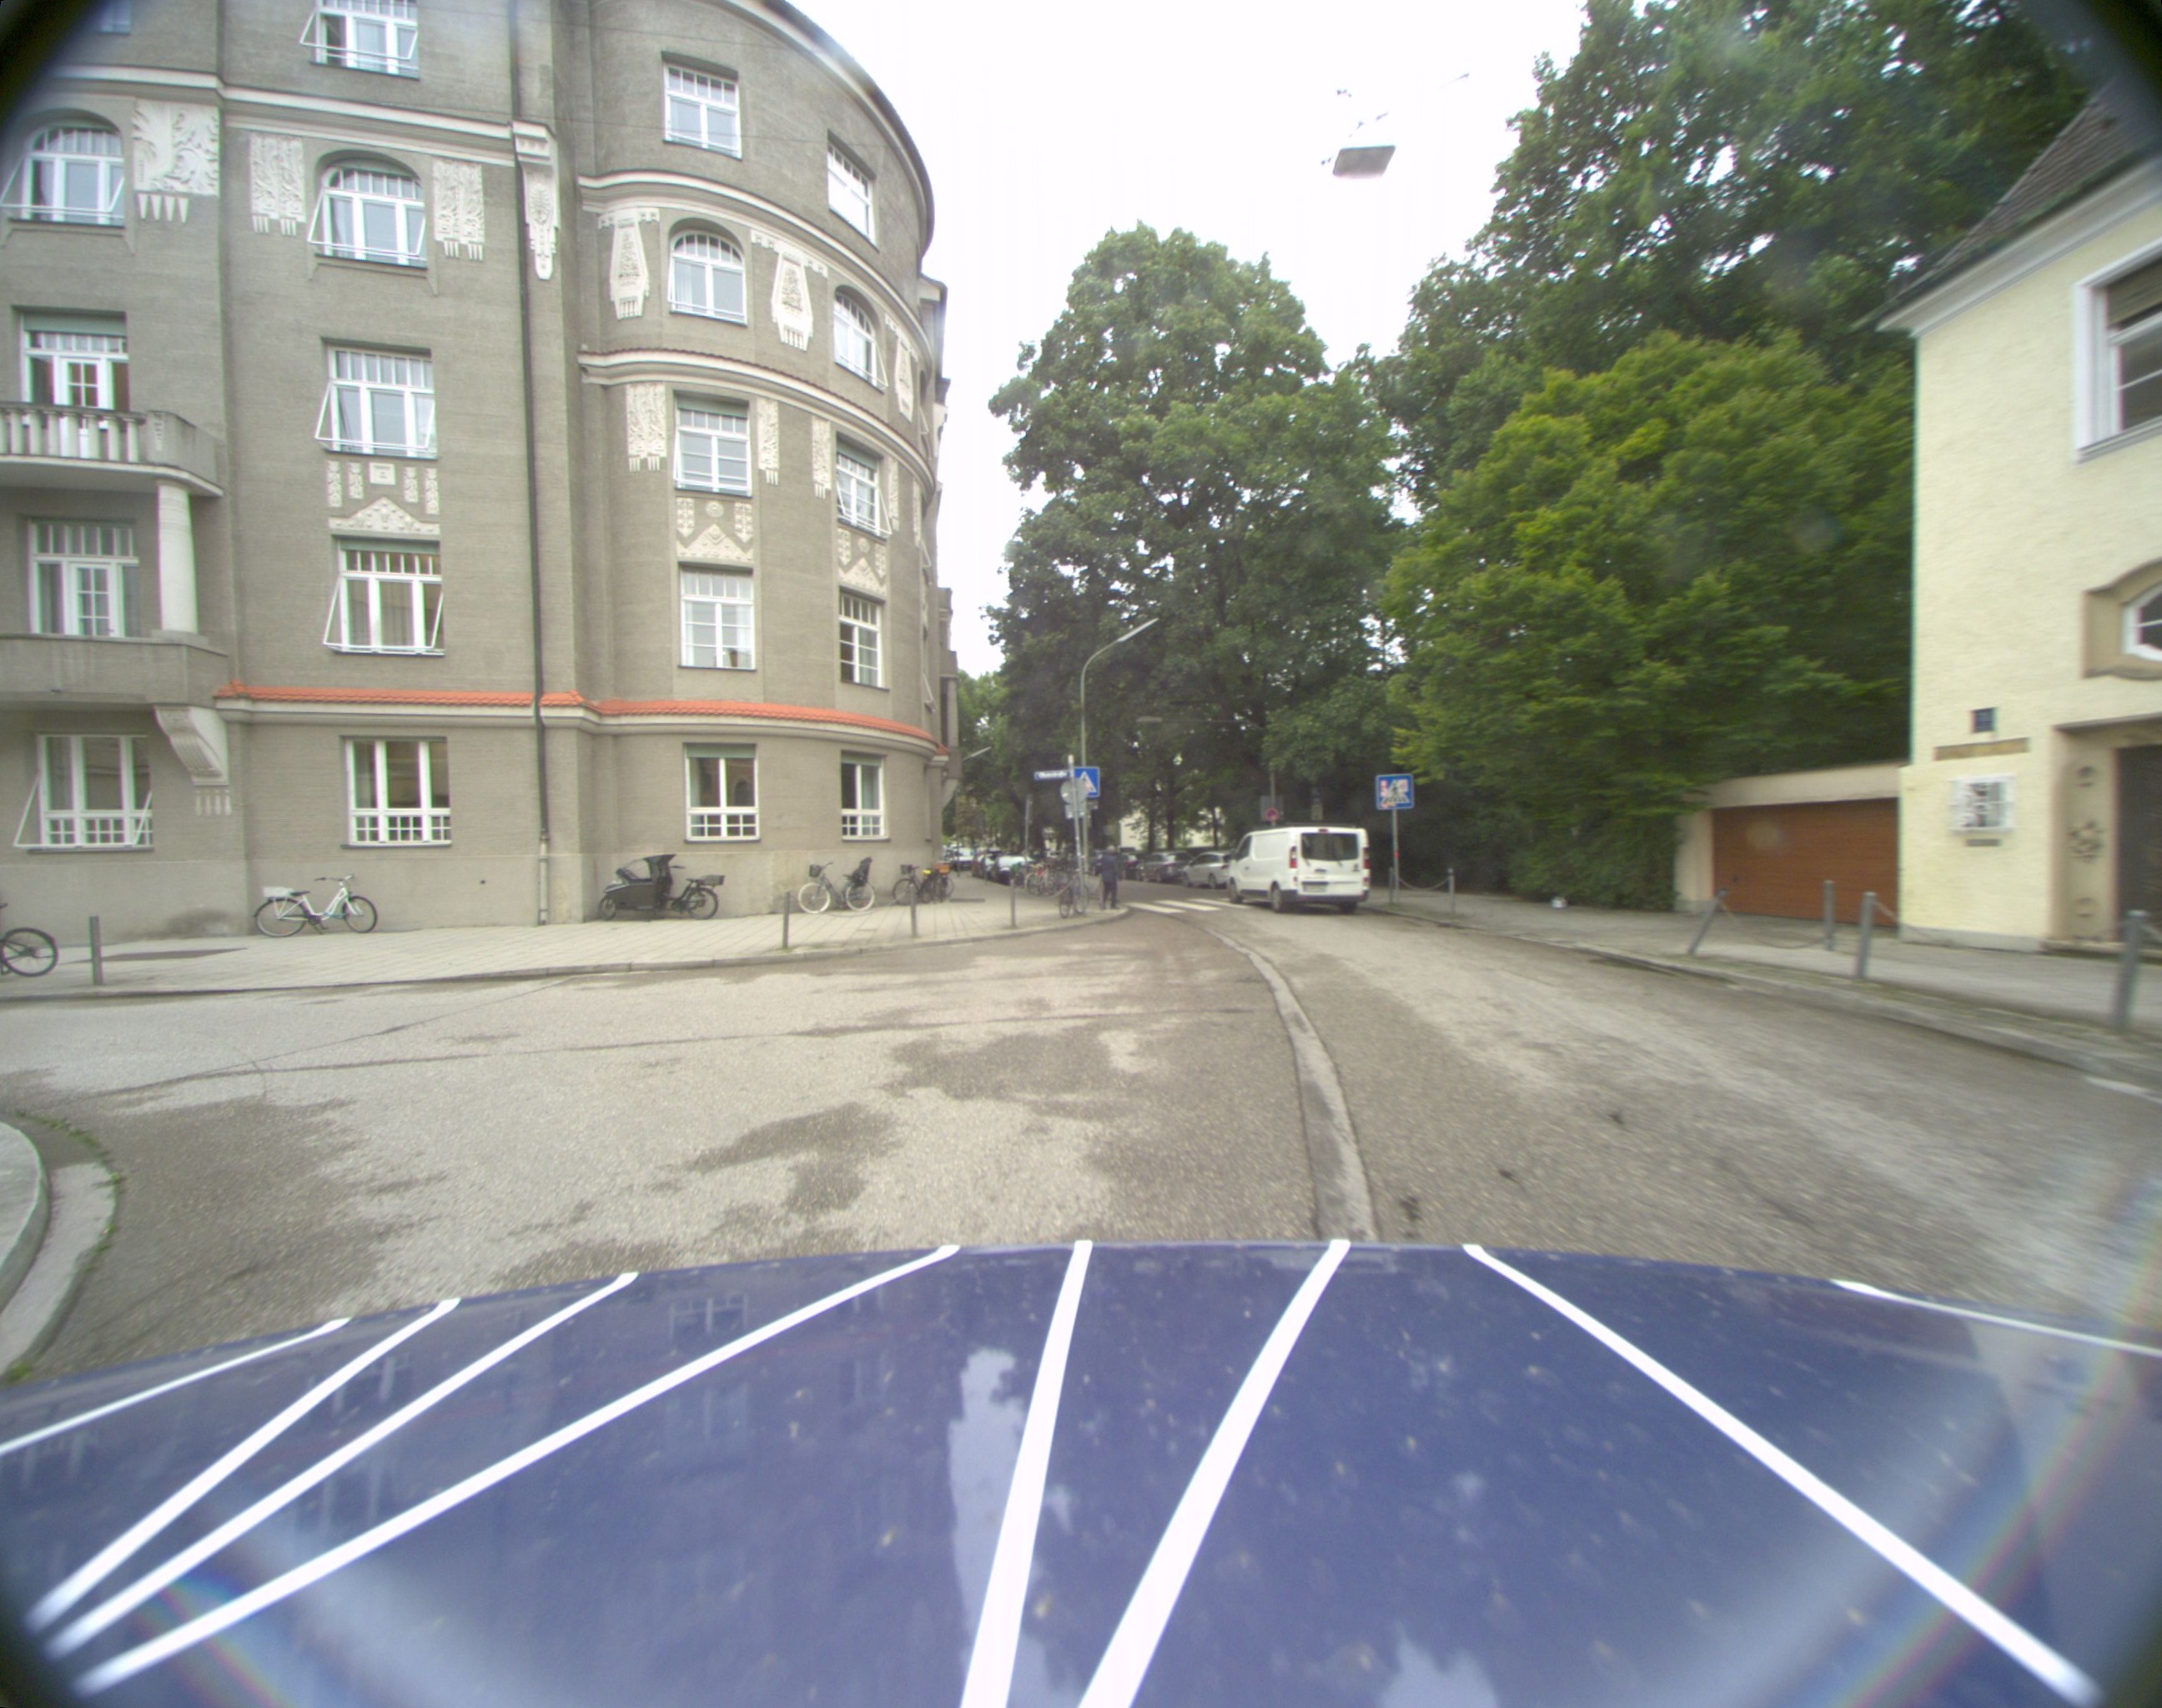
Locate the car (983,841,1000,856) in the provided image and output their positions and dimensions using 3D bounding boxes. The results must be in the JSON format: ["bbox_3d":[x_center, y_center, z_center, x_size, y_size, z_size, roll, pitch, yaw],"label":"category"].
[{"bbox_3d":[-12.457,-0.771,105.824,2.000,1.941,4.655,0,1,-11],"label":"car"}]

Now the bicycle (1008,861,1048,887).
[{"bbox_3d":[-2.367,0.908,34.010,1.682,1.140,0.512,0,2,4],"label":"bicycle"}]

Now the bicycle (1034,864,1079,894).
[{"bbox_3d":[-0.934,0.949,29.257,1.682,1.140,0.512,0,2,4],"label":"bicycle"}]

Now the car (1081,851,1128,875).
[{"bbox_3d":[1.439,0.521,47.952,1.778,1.424,4.510,-1,1,-15],"label":"car"}]

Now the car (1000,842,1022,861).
[{"bbox_3d":[-7.755,-0.320,83.666,2.000,1.941,4.655,0,1,-11],"label":"car"}]

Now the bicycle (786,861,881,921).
[{"bbox_3d":[-5.658,0.823,17.465,1.930,1.249,0.736,-1,2,-42],"label":"bicycle"}]

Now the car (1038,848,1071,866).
[{"bbox_3d":[-2.278,0.216,63.031,1.778,1.424,4.510,-1,1,-15],"label":"car"}]

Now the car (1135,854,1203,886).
[{"bbox_3d":[4.216,0.743,37.041,1.778,1.424,4.510,-1,1,-15],"label":"car"}]

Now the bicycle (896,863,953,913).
[{"bbox_3d":[-4.045,0.843,19.786,0.564,1.150,1.928,4,2,16],"label":"bicycle"}]

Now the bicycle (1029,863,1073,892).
[{"bbox_3d":[-1.194,0.922,30.404,1.682,1.140,0.512,0,2,4],"label":"bicycle"}]

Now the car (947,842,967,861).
[{"bbox_3d":[-13.261,-0.261,81.036,2.000,1.941,4.655,0,1,-11],"label":"car"}]

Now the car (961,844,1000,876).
[{"bbox_3d":[-6.616,0.334,49.704,2.001,1.941,4.654,0,1,-14],"label":"car"}]

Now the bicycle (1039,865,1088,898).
[{"bbox_3d":[-0.627,0.971,27.208,1.706,1.140,0.512,0,2,4],"label":"bicycle"}]

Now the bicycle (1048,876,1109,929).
[{"bbox_3d":[-0.024,1.040,16.873,0.510,1.004,2.011,1,2,26],"label":"bicycle"}]

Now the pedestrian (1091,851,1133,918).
[{"bbox_3d":[0.786,0.748,19.287,0.728,1.632,0.810,-2,2,-45],"label":"pedestrian"}]

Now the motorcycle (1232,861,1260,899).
[{"bbox_3d":[5.709,0.870,26.237,0.858,1.177,2.007,-3,1,13],"label":"motorcycle"}]

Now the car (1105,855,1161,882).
[{"bbox_3d":[2.870,0.774,42.750,1.778,1.424,4.510,-1,1,-15],"label":"car"}]

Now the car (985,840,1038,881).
[{"bbox_3d":[-3.675,0.275,39.177,2.001,1.941,4.654,0,1,-14],"label":"car"}]

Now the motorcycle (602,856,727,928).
[{"bbox_3d":[-8.659,0.768,15.891,2.147,1.432,0.737,0,2,-13],"label":"motorcycle"}]

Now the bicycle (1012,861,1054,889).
[{"bbox_3d":[-1.976,0.874,31.627,1.682,1.140,0.512,0,2,4],"label":"bicycle"}]

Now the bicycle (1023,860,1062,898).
[{"bbox_3d":[-1.243,0.790,24.663,0.510,1.140,1.687,1,2,26],"label":"bicycle"}]

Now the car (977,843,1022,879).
[{"bbox_3d":[-4.842,0.343,44.573,2.001,1.941,4.654,0,1,-14],"label":"car"}]

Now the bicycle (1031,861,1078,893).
[{"bbox_3d":[-0.964,0.849,27.871,1.682,1.140,0.466,0,2,4],"label":"bicycle"}]

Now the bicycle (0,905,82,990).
[{"bbox_3d":[-14.313,1.260,9.865,0.540,1.009,1.805,0,2,-12],"label":"bicycle"}]

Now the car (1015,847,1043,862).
[{"bbox_3d":[-5.014,0.020,72.700,1.778,1.424,4.510,-1,1,-15],"label":"car"}]

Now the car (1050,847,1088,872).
[{"bbox_3d":[-0.960,0.390,57.738,1.778,1.825,4.510,-1,1,-15],"label":"car"}]

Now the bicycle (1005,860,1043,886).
[{"bbox_3d":[-2.615,0.874,34.873,1.682,1.140,0.512,0,2,4],"label":"bicycle"}]

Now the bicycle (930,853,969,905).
[{"bbox_3d":[-3.762,0.681,21.849,0.737,1.405,1.926,0,1,1],"label":"bicycle"}]

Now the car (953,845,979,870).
[{"bbox_3d":[-9.815,0.258,64.854,2.000,1.941,4.655,0,1,-11],"label":"car"}]

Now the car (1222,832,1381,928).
[{"bbox_3d":[5.201,0.530,18.758,2.046,2.030,4.955,-1,1,-6],"label":"car"}]

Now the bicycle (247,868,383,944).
[{"bbox_3d":[-14.313,0.947,14.243,1.676,1.342,0.619,0,2,-15],"label":"bicycle"}]

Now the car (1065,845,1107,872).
[{"bbox_3d":[0.289,0.253,52.978,1.778,1.808,4.510,0,1,-15],"label":"car"}]

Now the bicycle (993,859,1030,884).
[{"bbox_3d":[-3.287,0.829,36.111,1.682,1.140,0.512,0,2,4],"label":"bicycle"}]

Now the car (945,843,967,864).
[{"bbox_3d":[-12.134,-0.111,73.678,2.000,1.941,4.655,0,1,-11],"label":"car"}]

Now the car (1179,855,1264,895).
[{"bbox_3d":[5.598,0.787,30.777,1.626,1.440,4.429,-1,1,-15],"label":"car"}]
